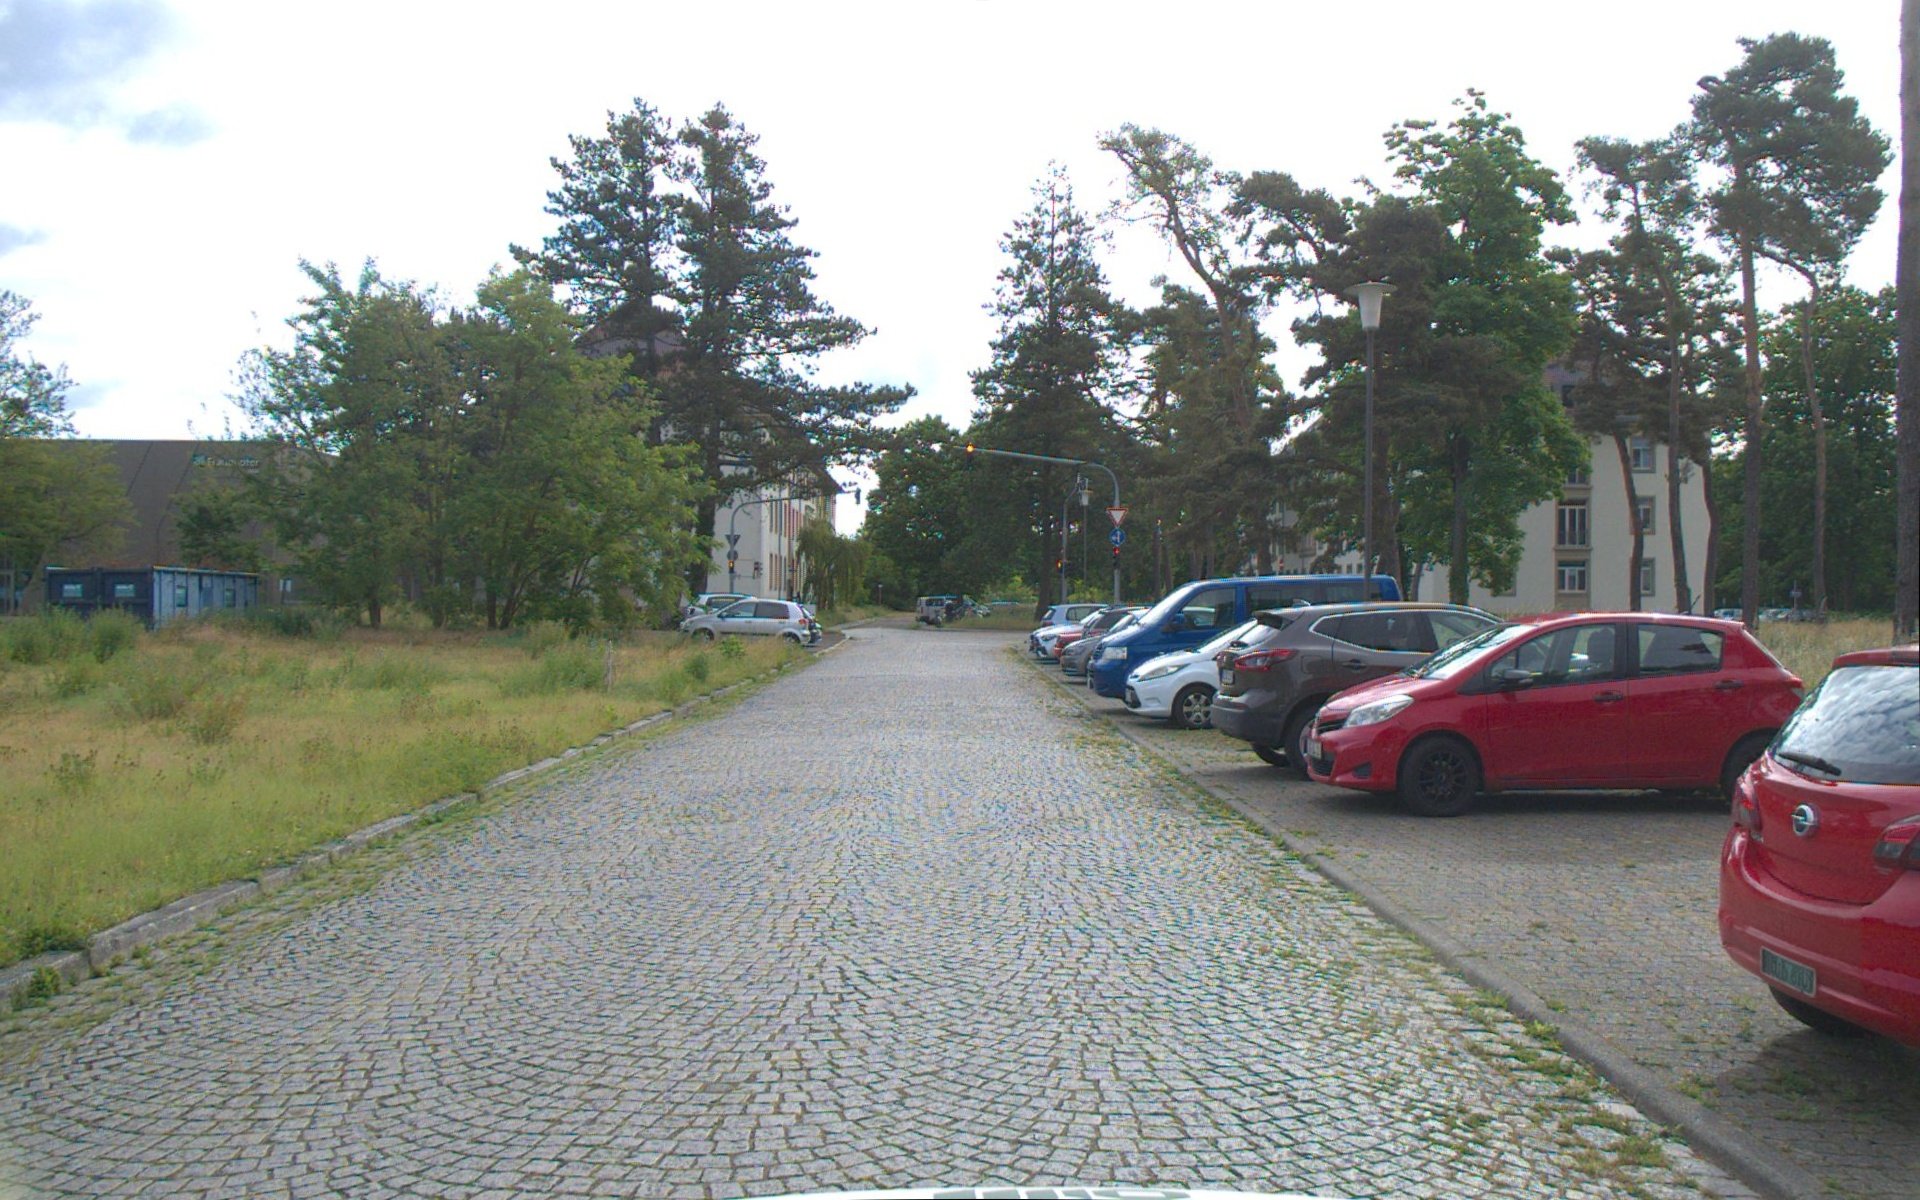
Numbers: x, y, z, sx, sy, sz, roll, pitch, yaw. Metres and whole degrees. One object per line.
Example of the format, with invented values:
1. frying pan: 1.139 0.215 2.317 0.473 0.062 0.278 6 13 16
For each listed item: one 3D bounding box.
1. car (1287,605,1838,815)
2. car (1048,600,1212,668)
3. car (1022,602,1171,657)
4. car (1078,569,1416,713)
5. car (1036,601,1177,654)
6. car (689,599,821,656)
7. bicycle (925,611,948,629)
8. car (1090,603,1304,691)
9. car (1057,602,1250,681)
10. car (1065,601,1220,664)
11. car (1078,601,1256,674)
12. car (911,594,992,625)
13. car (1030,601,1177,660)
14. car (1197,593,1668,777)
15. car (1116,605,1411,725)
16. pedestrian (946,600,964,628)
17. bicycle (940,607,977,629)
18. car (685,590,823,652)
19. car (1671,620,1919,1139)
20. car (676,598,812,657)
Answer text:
1. car: 4.634 0.817 13.116 3.715 1.486 1.751 -1 0 -1
2. car: 3.931 0.778 38.483 3.598 1.475 1.523 -1 0 -3
3. car: 3.753 0.803 45.873 3.891 1.446 1.618 -1 0 -5
4. car: 4.204 0.590 24.738 4.659 1.989 1.930 -1 0 -3
5. car: 4.272 0.793 48.533 3.891 1.446 1.618 -1 0 -5
6. car: -6.127 0.817 49.687 3.744 1.600 1.564 -1 0 -2
7. bicycle: -1.309 1.106 93.286 0.613 0.961 1.647 1 0 -28
8. car: 4.258 0.833 30.016 3.598 1.475 1.523 -1 0 -3
9. car: 3.801 0.803 32.787 3.598 1.475 1.523 -1 0 -3
10. car: 4.474 0.792 40.778 3.598 1.475 1.523 -1 0 -3
11. car: 4.442 0.797 35.787 3.598 1.475 1.523 -1 0 -3
12. car: -0.584 0.657 115.282 5.347 2.049 2.263 1 0 -10
13. car: 3.712 0.791 43.017 3.600 1.446 1.522 -1 0 -5
14. car: 4.396 0.761 15.771 3.948 1.580 1.750 -1 0 -4
15. car: 4.003 0.840 22.140 3.599 1.475 1.613 -1 0 -4
16. pedestrian: -0.289 0.830 97.719 1.013 1.642 0.756 1 0 -6
17. bicycle: -0.090 1.042 97.379 2.095 1.236 0.621 1 0 -6
18. car: -6.514 0.658 52.668 4.176 1.873 1.743 -1 -1 -2
19. car: 4.644 0.799 5.535 3.748 1.486 1.779 -1 0 -2
20. car: -6.131 0.773 47.270 3.746 1.600 1.563 -1 0 -4
